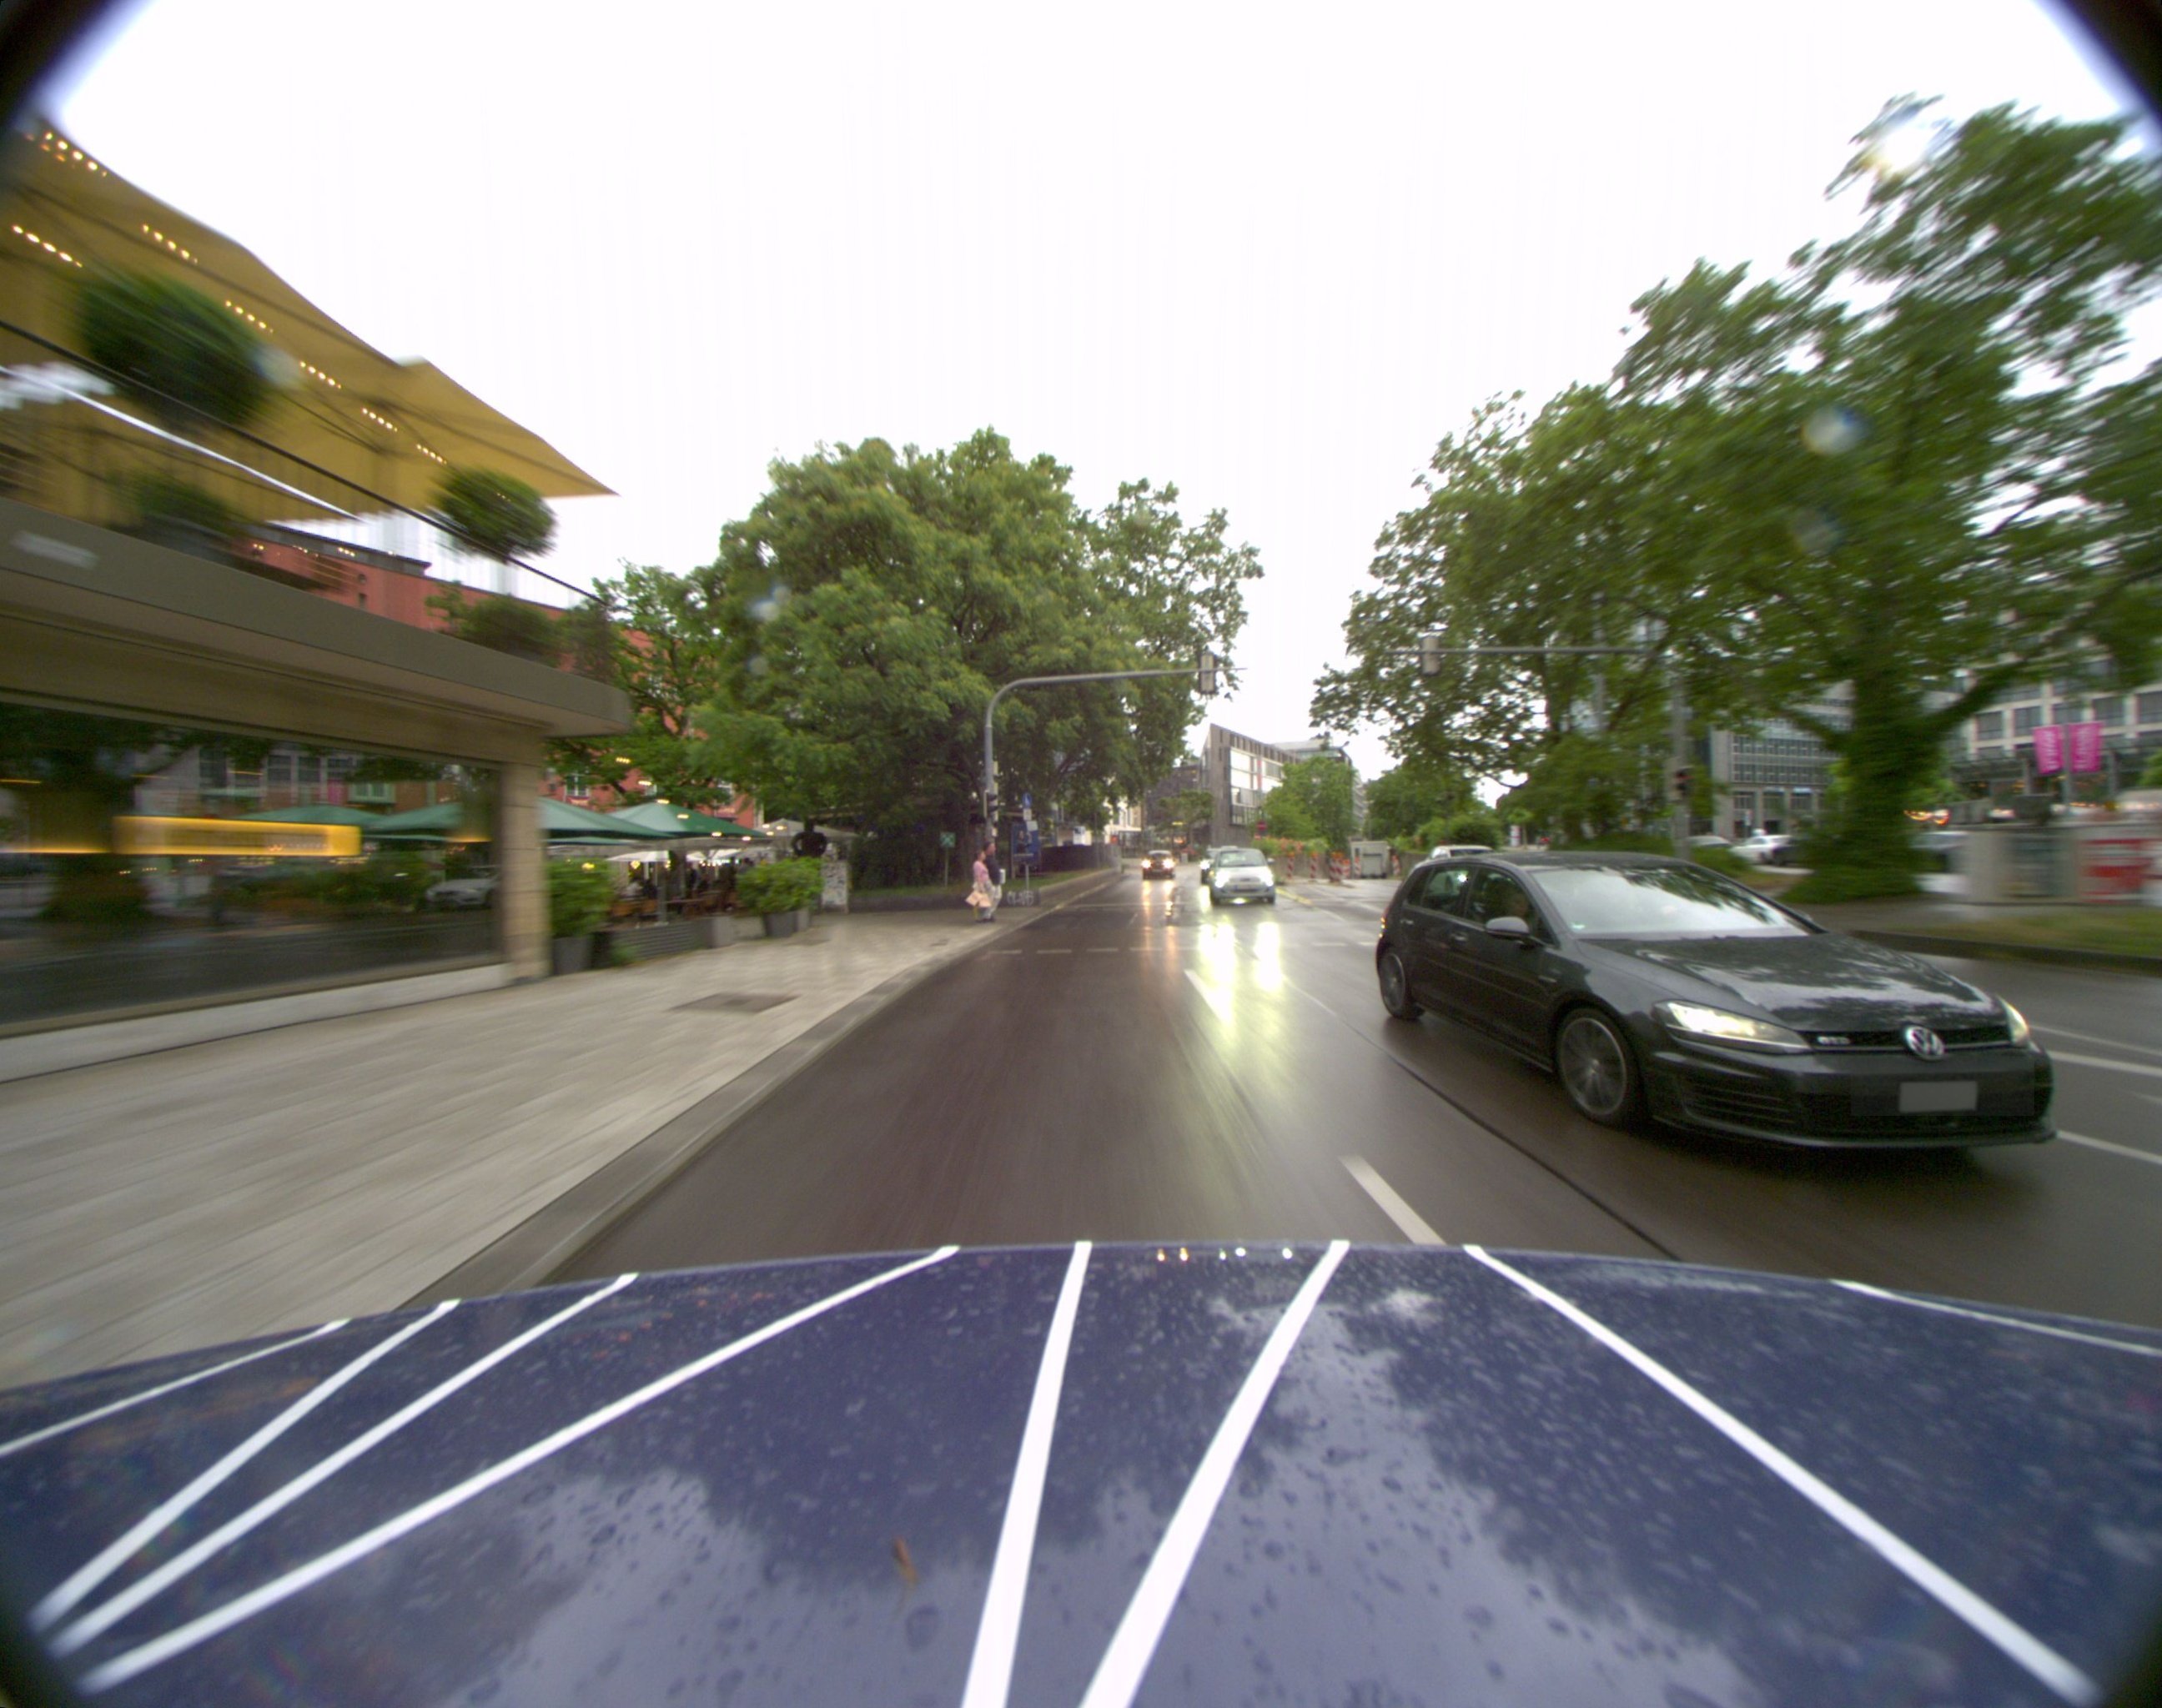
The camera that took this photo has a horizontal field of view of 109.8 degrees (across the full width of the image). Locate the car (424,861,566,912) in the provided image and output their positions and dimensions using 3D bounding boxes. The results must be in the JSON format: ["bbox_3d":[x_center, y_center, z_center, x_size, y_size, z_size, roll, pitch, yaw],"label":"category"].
[{"bbox_3d":[-19.936,1.046,26.103,1.670,1.490,4.000,-2,0,1],"label":"car"}]

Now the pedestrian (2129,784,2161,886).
[{"bbox_3d":[17.341,-0.304,12.087,0.611,1.604,0.641,-2,0,-23],"label":"pedestrian"}]

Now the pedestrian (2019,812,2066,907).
[{"bbox_3d":[16.700,0.094,13.193,0.555,1.604,0.424,-2,0,-33],"label":"pedestrian"}]

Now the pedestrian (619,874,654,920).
[{"bbox_3d":[-13.552,1.304,23.141,0.717,1.319,0.643,-2,1,39],"label":"pedestrian"}]

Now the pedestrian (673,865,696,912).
[{"bbox_3d":[-14.500,1.246,27.789,0.548,1.671,0.498,-3,1,-45],"label":"pedestrian"}]

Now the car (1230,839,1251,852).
[{"bbox_3d":[22.706,-1.176,108.026,1.995,1.734,3.916,-2,0,24],"label":"car"}]

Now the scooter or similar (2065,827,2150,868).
[{"bbox_3d":[31.855,-0.188,23.607,1.426,1.179,0.582,-3,0,29],"label":"scooter or similar"}]

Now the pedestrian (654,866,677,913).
[{"bbox_3d":[-15.232,1.287,27.852,0.548,1.671,0.498,-3,1,-45],"label":"pedestrian"}]

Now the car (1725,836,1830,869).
[{"bbox_3d":[34.617,-0.129,37.934,2.009,1.525,4.440,-1,1,15],"label":"car"}]

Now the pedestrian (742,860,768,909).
[{"bbox_3d":[-11.328,1.064,26.421,0.604,1.671,0.548,-2,1,45],"label":"pedestrian"}]

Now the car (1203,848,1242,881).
[{"bbox_3d":[6.668,0.461,35.713,1.715,1.433,3.497,0,1,12],"label":"car"}]

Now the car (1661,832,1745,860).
[{"bbox_3d":[36.273,-0.497,44.478,2.009,1.525,4.715,-1,1,15],"label":"car"}]

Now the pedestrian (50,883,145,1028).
[{"bbox_3d":[-7.655,0.763,5.923,0.543,1.049,0.409,-2,0,38],"label":"pedestrian"}]

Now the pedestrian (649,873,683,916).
[{"bbox_3d":[-13.139,1.277,24.065,0.717,1.319,0.643,-2,1,39],"label":"pedestrian"}]

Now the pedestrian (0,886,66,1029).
[{"bbox_3d":[-8.315,0.791,5.839,0.341,1.067,0.480,-2,0,-6],"label":"pedestrian"}]

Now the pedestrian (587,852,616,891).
[{"bbox_3d":[-15.642,0.558,24.785,0.632,1.233,0.577,-2,1,38],"label":"pedestrian"}]

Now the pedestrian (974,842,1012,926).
[{"bbox_3d":[-1.925,0.647,16.700,0.633,1.824,0.563,-1,2,11],"label":"pedestrian"}]

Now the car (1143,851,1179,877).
[{"bbox_3d":[4.335,0.522,40.838,1.715,1.274,3.496,-1,1,10],"label":"car"}]

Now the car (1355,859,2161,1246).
[{"bbox_3d":[3.509,0.809,5.102,1.789,1.444,4.122,-2,0,0],"label":"car"}]

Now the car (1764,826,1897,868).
[{"bbox_3d":[32.560,-0.330,33.219,1.996,1.642,4.731,-1,1,14],"label":"car"}]

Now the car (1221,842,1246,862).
[{"bbox_3d":[14.175,-0.171,70.630,1.997,1.734,3.912,-2,0,8],"label":"car"}]

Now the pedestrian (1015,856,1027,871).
[{"bbox_3d":[-3.628,0.557,45.946,0.574,0.867,0.508,-2,1,-23],"label":"pedestrian"}]

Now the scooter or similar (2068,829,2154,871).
[{"bbox_3d":[31.005,-0.117,22.897,1.427,1.179,0.582,-3,0,20],"label":"scooter or similar"}]

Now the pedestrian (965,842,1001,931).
[{"bbox_3d":[-2.076,0.662,16.068,0.592,1.824,0.628,-2,2,-20],"label":"pedestrian"}]

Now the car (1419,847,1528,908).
[{"bbox_3d":[11.616,0.620,22.763,1.780,1.587,4.002,-2,1,10],"label":"car"}]

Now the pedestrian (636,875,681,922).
[{"bbox_3d":[-12.613,1.322,22.703,0.640,1.319,0.948,-2,1,41],"label":"pedestrian"}]

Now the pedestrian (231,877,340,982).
[{"bbox_3d":[-8.380,0.780,8.023,0.555,1.049,0.545,-2,0,9],"label":"pedestrian"}]

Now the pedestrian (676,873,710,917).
[{"bbox_3d":[-11.973,1.258,23.460,0.717,1.319,0.643,-2,1,39],"label":"pedestrian"}]

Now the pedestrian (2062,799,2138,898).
[{"bbox_3d":[17.013,-0.091,12.690,0.448,1.604,0.641,-2,0,-23],"label":"pedestrian"}]

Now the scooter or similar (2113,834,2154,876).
[{"bbox_3d":[30.351,0.036,21.914,1.615,1.119,0.442,-3,0,-28],"label":"scooter or similar"}]

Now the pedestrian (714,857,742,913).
[{"bbox_3d":[-11.941,1.049,25.735,0.498,1.825,0.643,-2,1,45],"label":"pedestrian"}]

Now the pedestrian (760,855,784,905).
[{"bbox_3d":[-10.624,0.887,26.123,0.548,1.671,0.498,-3,1,-45],"label":"pedestrian"}]

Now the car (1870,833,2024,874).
[{"bbox_3d":[31.694,-0.054,27.995,1.844,1.373,4.046,-1,1,16],"label":"car"}]

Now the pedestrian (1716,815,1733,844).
[{"bbox_3d":[41.524,-1.574,49.051,0.747,1.779,0.424,-3,1,39],"label":"pedestrian"}]

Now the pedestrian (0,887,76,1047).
[{"bbox_3d":[-7.526,0.781,5.305,0.329,1.067,0.480,-2,0,-2],"label":"pedestrian"}]

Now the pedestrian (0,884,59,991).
[{"bbox_3d":[-10.964,0.845,7.673,0.555,1.049,0.545,-2,0,9],"label":"pedestrian"}]

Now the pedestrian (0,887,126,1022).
[{"bbox_3d":[-8.693,0.821,6.378,0.623,1.049,0.607,-2,0,-29],"label":"pedestrian"}]

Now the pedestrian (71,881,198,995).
[{"bbox_3d":[-9.288,0.811,7.470,0.555,1.049,0.545,-2,0,9],"label":"pedestrian"}]

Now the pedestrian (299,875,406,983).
[{"bbox_3d":[-7.527,0.760,7.869,0.555,1.049,0.545,-2,0,9],"label":"pedestrian"}]

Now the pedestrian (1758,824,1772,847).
[{"bbox_3d":[47.737,-1.301,53.034,0.563,1.618,0.578,-2,2,-22],"label":"pedestrian"}]

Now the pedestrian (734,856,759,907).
[{"bbox_3d":[-11.213,0.929,25.466,0.548,1.671,0.498,-3,1,-45],"label":"pedestrian"}]

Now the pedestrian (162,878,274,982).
[{"bbox_3d":[-9.159,0.793,8.078,0.555,1.049,0.545,-2,0,9],"label":"pedestrian"}]

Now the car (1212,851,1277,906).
[{"bbox_3d":[4.600,0.645,21.718,1.611,1.433,3.496,0,1,9],"label":"car"}]

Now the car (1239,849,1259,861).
[{"bbox_3d":[25.466,0.141,114.826,1.995,1.734,3.916,-2,0,27],"label":"car"}]
